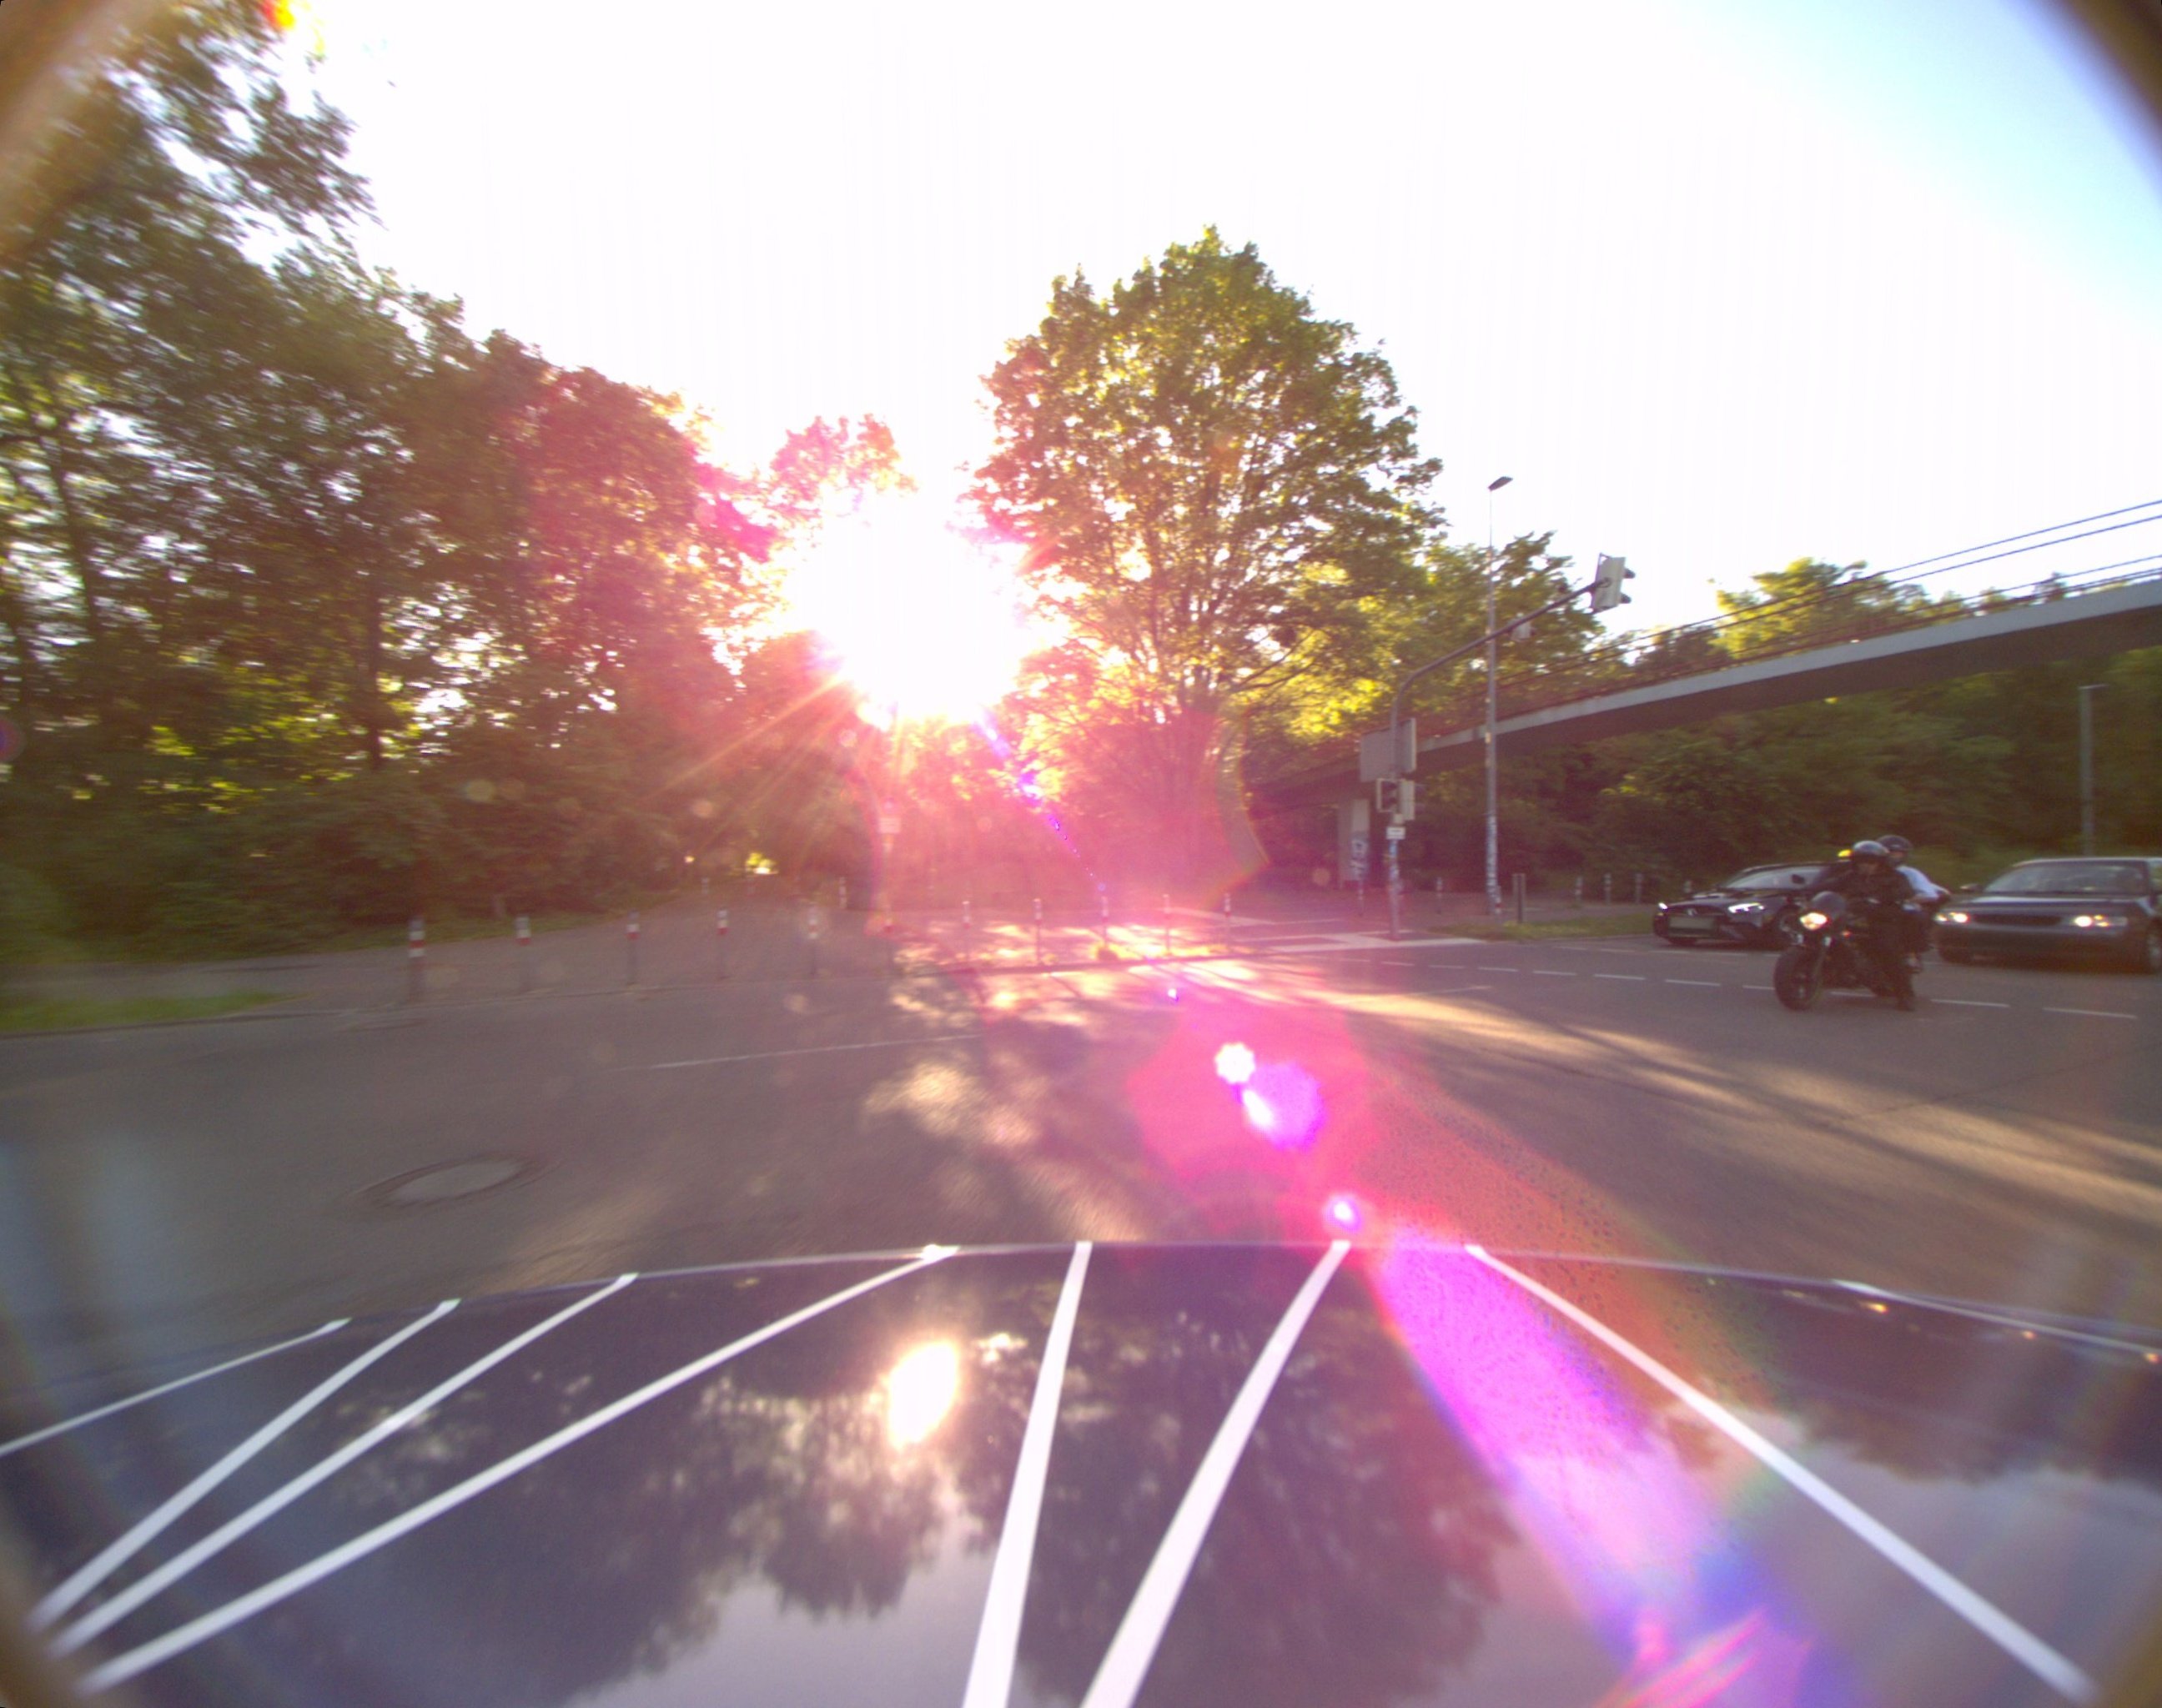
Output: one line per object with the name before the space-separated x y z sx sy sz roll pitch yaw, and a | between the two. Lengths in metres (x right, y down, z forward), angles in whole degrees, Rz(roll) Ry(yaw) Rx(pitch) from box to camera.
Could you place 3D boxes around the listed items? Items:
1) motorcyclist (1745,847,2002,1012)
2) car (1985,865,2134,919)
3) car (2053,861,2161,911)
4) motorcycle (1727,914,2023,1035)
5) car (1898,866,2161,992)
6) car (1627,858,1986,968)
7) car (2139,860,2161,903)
motorcyclist | 7.782 0.677 7.512 1.567 1.419 1.137 -2 0 -15
car | 29.342 1.080 22.781 4.130 1.499 1.692 0 0 -22
car | 33.753 0.996 24.645 3.980 1.499 1.718 0 0 -22
motorcycle | 7.787 1.124 7.456 2.714 0.907 0.807 -1 0 -15
car | 13.063 0.855 9.967 4.004 1.381 1.866 0 -2 -22
car | 12.779 0.914 13.399 5.891 1.625 1.997 0 0 -18
car | 40.164 0.975 27.191 4.158 1.499 1.735 0 0 -22
